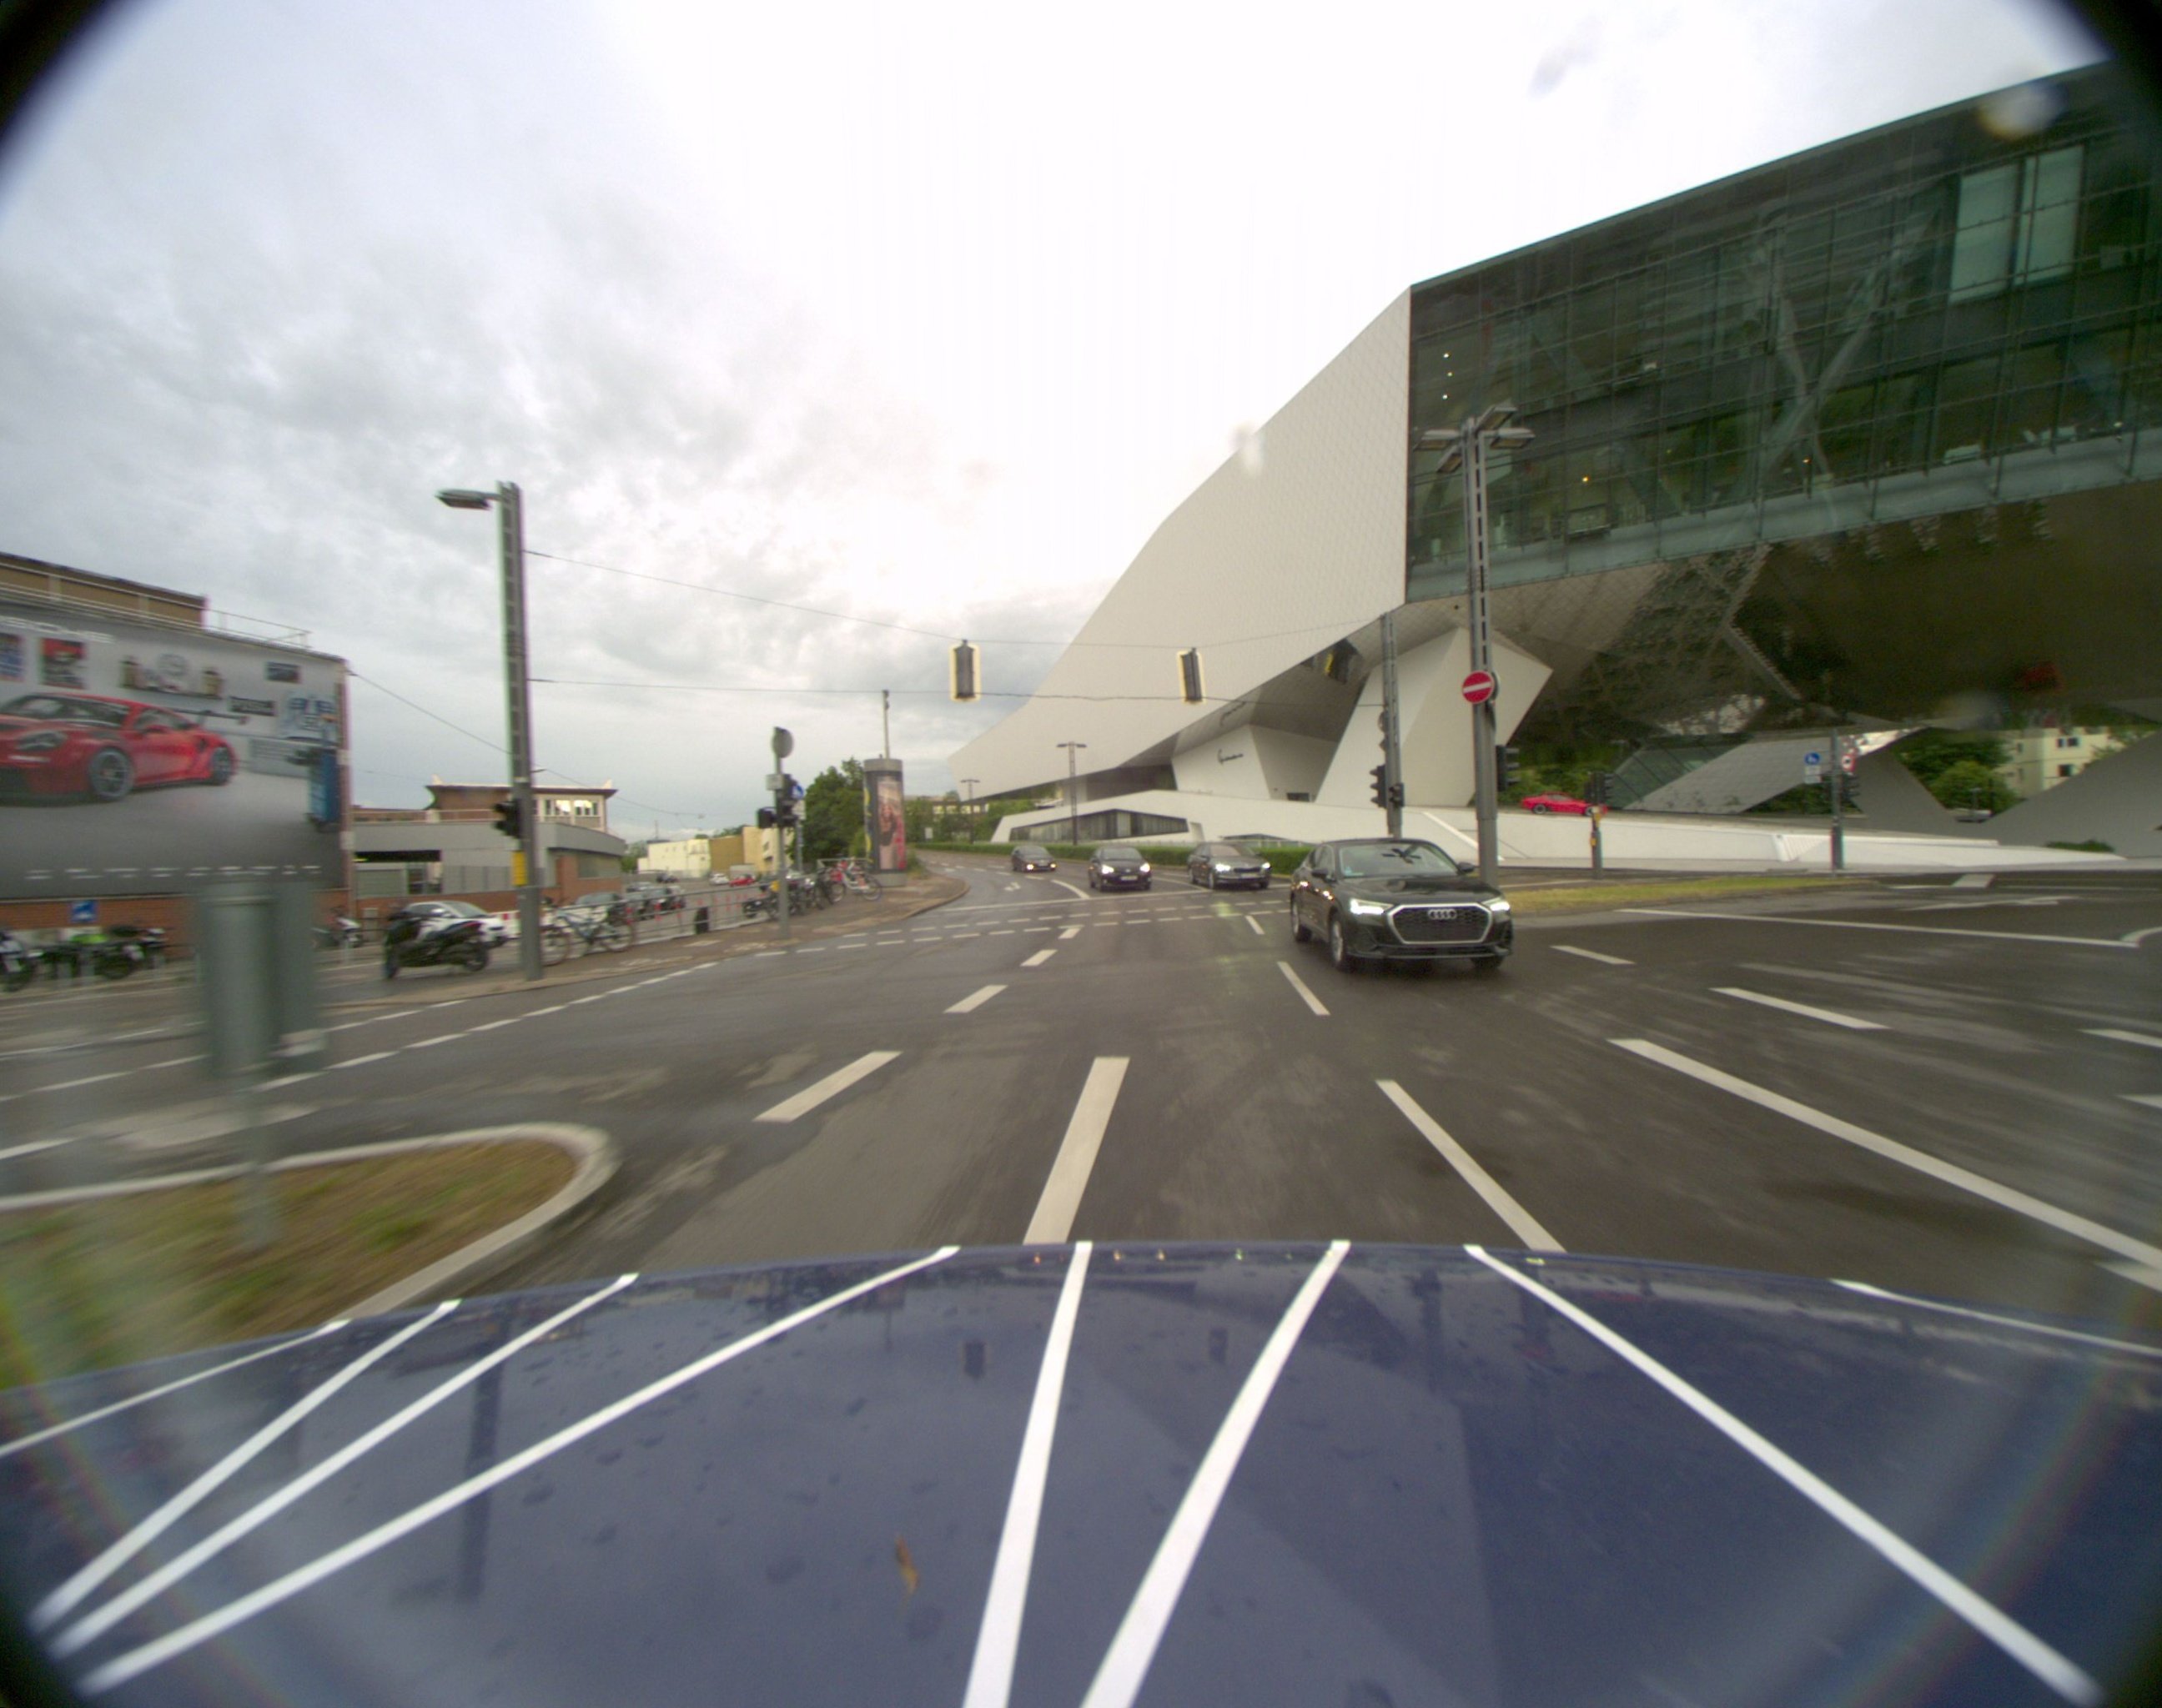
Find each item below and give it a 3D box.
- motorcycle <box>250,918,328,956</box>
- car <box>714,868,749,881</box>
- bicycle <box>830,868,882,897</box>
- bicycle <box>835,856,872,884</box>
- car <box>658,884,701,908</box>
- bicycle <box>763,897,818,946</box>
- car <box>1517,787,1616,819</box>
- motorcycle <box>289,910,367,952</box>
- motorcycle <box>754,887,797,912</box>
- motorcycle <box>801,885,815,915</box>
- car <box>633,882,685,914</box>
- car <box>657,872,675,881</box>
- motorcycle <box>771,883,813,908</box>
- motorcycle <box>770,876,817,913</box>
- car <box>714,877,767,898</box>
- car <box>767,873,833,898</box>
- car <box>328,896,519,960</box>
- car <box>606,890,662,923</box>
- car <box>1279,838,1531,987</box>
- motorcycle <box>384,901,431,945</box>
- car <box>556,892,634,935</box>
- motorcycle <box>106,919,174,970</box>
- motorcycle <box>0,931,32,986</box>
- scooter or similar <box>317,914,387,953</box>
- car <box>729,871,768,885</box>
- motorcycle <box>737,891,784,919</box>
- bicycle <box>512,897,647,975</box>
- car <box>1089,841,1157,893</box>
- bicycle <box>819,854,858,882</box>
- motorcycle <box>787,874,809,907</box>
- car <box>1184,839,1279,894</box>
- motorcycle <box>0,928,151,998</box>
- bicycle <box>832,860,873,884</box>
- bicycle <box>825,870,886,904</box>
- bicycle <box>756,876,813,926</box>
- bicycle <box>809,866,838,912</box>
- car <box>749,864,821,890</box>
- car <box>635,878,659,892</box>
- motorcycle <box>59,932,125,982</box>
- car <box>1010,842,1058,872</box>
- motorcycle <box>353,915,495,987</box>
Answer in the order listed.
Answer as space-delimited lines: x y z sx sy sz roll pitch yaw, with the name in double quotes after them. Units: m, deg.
-23.812 2.503 22.859 1.616 0.968 0.541 -3 3 -3 "motorcycle"
-47.141 2.760 102.502 4.006 1.417 1.717 -4 1 -32 "car"
-7.794 0.977 26.349 1.616 0.916 0.421 -2 2 -7 "bicycle"
-9.519 0.662 31.787 0.442 1.068 1.465 2 3 41 "bicycle"
-28.151 2.917 53.416 1.721 1.396 4.269 -3 1 -16 "car"
-7.785 1.792 20.424 0.347 1.078 1.745 -1 3 15 "bicycle"
26.684 -2.815 41.940 4.233 1.377 2.003 6 5 25 "car"
-23.916 2.432 24.161 1.720 1.146 0.584 -3 3 -3 "motorcycle"
-13.207 1.952 32.854 1.619 0.917 0.420 -5 4 -31 "motorcycle"
-9.352 1.561 26.021 0.403 0.885 1.537 -3 3 -21 "motorcycle"
-26.345 2.708 47.562 1.785 1.657 4.499 -3 1 -16 "car"
-69.273 3.776 126.775 1.724 1.417 3.989 -4 1 -43 "car"
-13.013 1.855 34.238 1.619 0.917 0.420 -5 4 -33 "motorcycle"
-8.408 1.161 22.296 0.547 0.890 1.744 -2 3 5 "motorcycle"
-29.119 2.859 65.027 4.005 1.417 1.717 -4 1 -27 "car"
-19.862 2.203 53.809 3.998 1.417 1.720 -3 1 -4 "car"
-19.485 2.162 22.680 4.000 1.480 1.566 -3 1 -10 "car"
-24.193 2.811 41.266 1.722 1.417 3.994 -3 1 -18 "car"
3.878 0.595 9.975 1.756 1.509 4.396 -1 0 5 "car"
-23.791 2.424 26.879 0.524 1.326 1.666 -4 3 -18 "motorcycle"
-22.041 2.646 34.682 1.891 1.542 4.500 -3 1 -19 "car"
-24.496 2.348 19.776 1.803 1.231 0.545 -2 1 21 "motorcycle"
-25.097 2.404 17.523 1.709 1.174 0.545 -2 3 21 "motorcycle"
-23.914 2.600 24.933 1.638 1.091 0.504 -3 3 -3 "scooter or similar"
-39.975 2.880 91.324 4.006 1.417 1.717 -4 1 -32 "car"
-12.714 2.018 30.162 1.618 0.917 0.481 -5 3 -26 "motorcycle"
-9.328 1.482 14.240 0.420 1.124 2.076 -2 3 28 "bicycle"
1.356 0.371 25.870 1.694 1.499 4.007 -3 2 -5 "car"
-10.564 0.592 33.077 1.546 1.149 0.450 -1 3 -23 "bicycle"
-8.820 1.127 23.723 0.434 0.885 1.262 -3 3 -12 "motorcycle"
4.713 0.322 24.449 1.817 1.431 4.298 -3 2 -5 "car"
-21.135 2.250 15.966 0.543 1.105 1.866 -2 3 18 "motorcycle"
-9.771 0.743 32.557 0.485 0.917 1.707 0 3 36 "bicycle"
-7.022 1.020 23.695 1.746 0.956 0.421 -3 3 -10 "bicycle"
-7.583 1.185 19.522 0.347 1.078 1.745 -1 3 15 "bicycle"
-7.533 0.999 22.262 0.400 1.169 2.013 -3 3 -9 "bicycle"
-19.387 1.478 49.886 3.998 1.417 1.720 -3 1 -4 "car"
-50.216 3.597 87.982 1.723 1.417 3.990 -4 1 -39 "car"
-24.269 2.508 18.648 1.805 1.114 0.477 -2 3 24 "motorcycle"
-2.670 0.118 42.316 1.751 1.466 4.062 -4 3 -16 "car"
-11.968 1.758 13.866 2.093 1.139 0.488 -3 3 2 "motorcycle"
